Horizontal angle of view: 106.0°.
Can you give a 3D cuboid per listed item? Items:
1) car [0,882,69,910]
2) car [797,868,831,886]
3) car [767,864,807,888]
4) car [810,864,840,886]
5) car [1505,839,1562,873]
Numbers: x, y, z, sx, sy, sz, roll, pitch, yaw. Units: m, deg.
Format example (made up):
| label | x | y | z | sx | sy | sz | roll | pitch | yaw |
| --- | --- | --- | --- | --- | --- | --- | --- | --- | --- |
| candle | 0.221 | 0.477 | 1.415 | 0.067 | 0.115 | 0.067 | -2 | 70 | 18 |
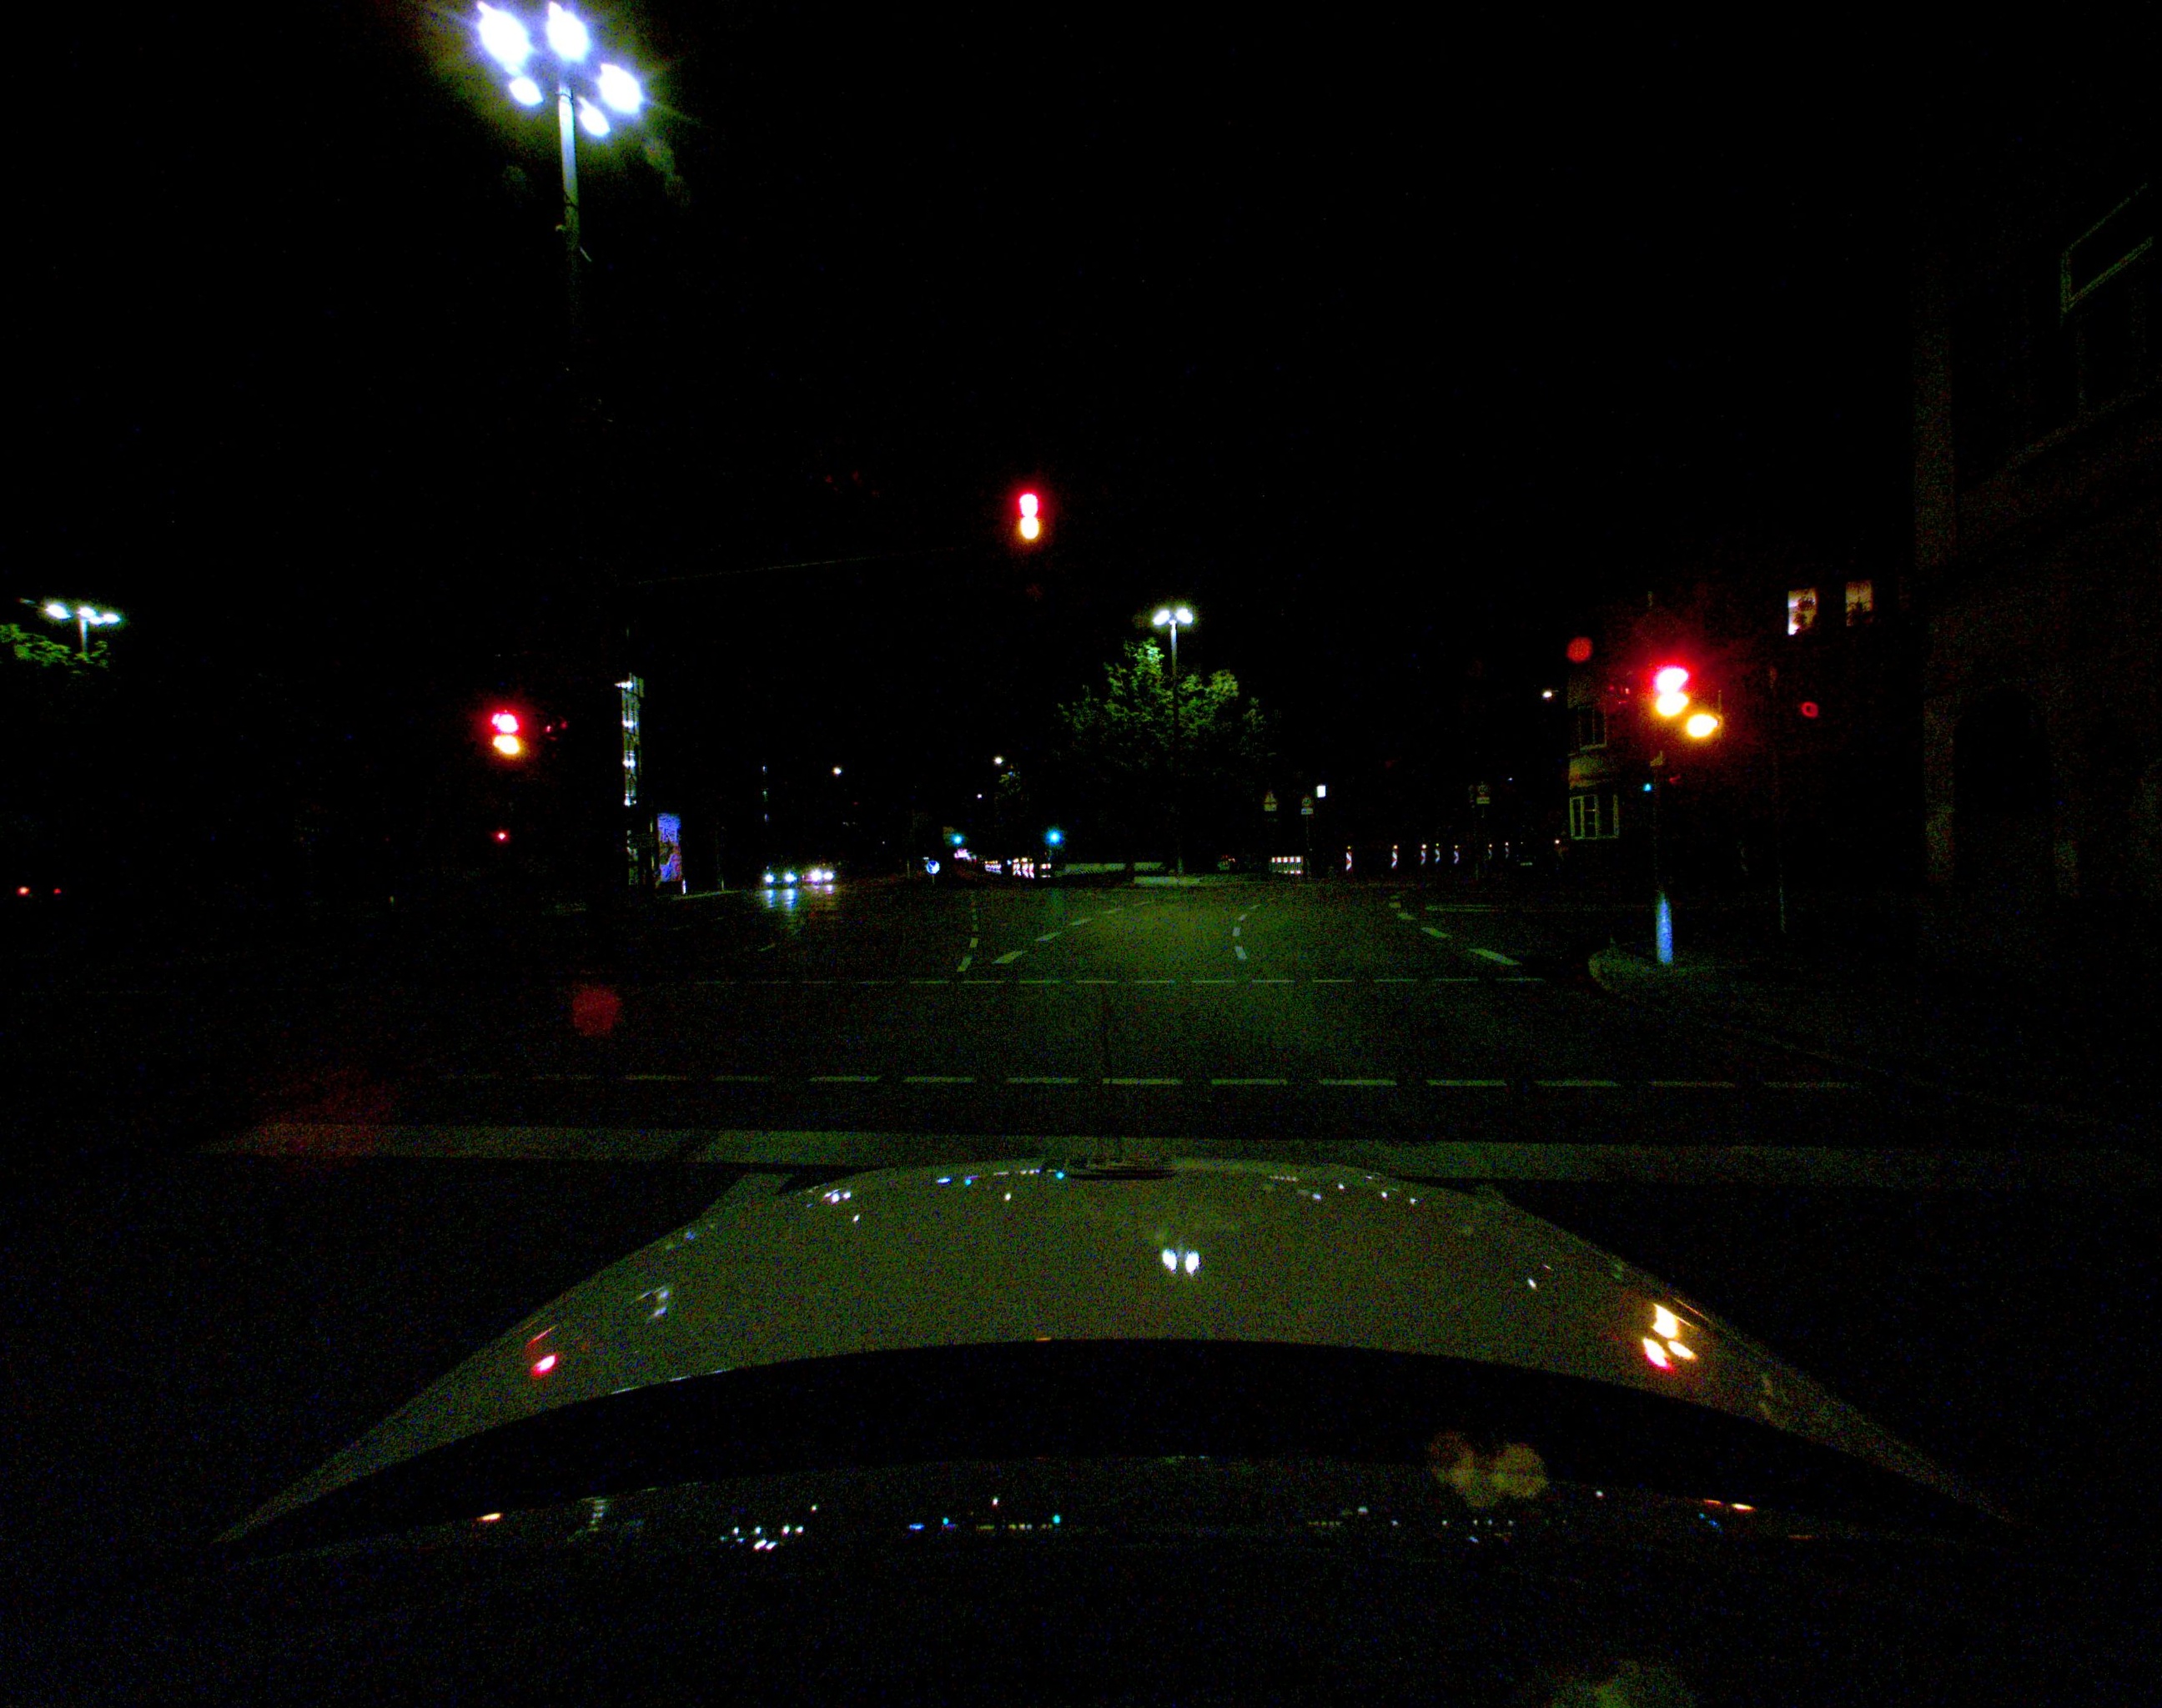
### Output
| label | x | y | z | sx | sy | sz | roll | pitch | yaw |
| --- | --- | --- | --- | --- | --- | --- | --- | --- | --- |
| car | -62.710 | 2.500 | 48.432 | 3.956 | 1.491 | 1.716 | -2 | -1 | 16 |
| car | -20.387 | 1.744 | 62.253 | 1.756 | 1.322 | 3.538 | -2 | -1 | -7 |
| car | -19.836 | 1.456 | 55.061 | 1.614 | 1.515 | 3.990 | -2 | -1 | -7 |
| car | -21.247 | 1.694 | 67.663 | 1.756 | 1.728 | 3.538 | -2 | -1 | -7 |
| car | 22.598 | 0.082 | 40.628 | 1.711 | 1.612 | 3.646 | -2 | -1 | 41 |
